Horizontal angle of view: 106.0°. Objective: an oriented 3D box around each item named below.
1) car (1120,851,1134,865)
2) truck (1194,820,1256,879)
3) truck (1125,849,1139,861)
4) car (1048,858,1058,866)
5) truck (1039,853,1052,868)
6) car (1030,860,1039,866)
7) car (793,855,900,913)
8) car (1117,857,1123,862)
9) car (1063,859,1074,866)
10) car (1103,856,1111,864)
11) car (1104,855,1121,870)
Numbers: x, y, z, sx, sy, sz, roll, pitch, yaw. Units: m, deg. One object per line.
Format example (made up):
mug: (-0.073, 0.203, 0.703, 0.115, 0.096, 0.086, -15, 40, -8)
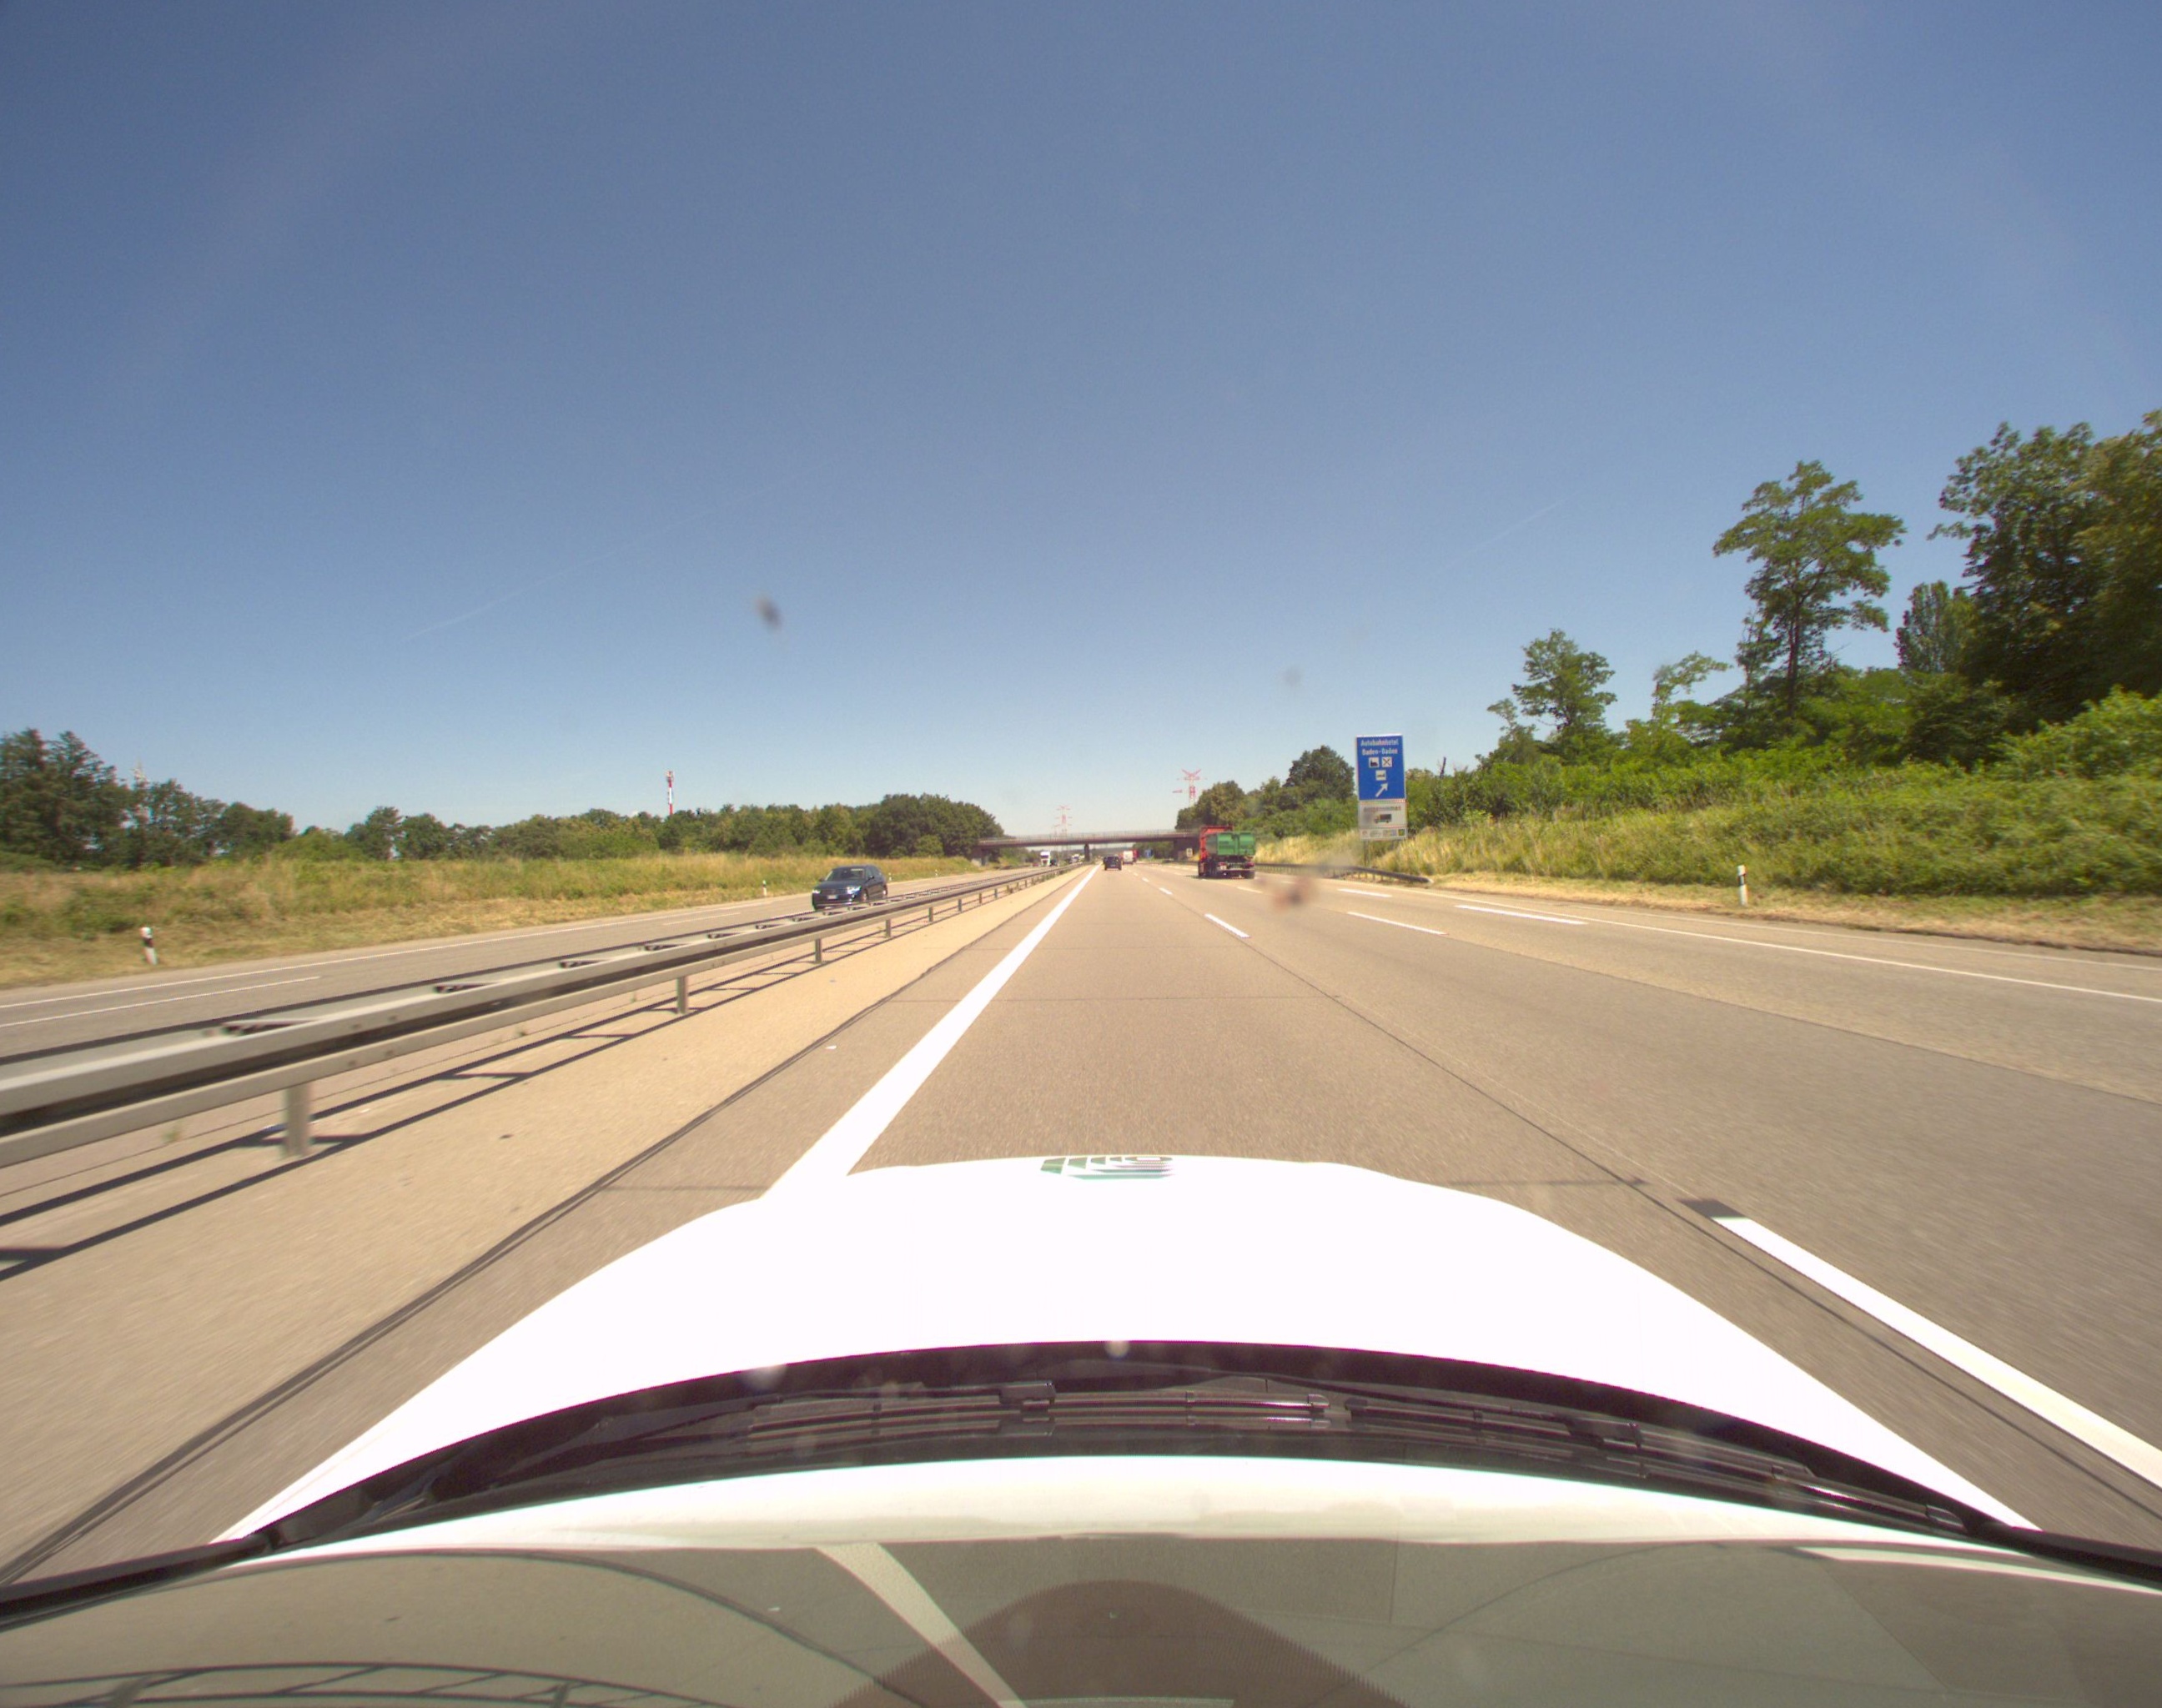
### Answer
car: (9.241, 0.804, 164.292, 2.611, 2.759, 6.099, 0, 0, 2)
truck: (10.207, -0.282, 58.900, 2.670, 3.798, 12.483, 0, 0, 2)
truck: (16.208, 0.355, 259.734, 4.314, 3.941, 16.086, 0, 0, 2)
car: (-6.889, 1.995, 201.267, 2.220, 1.812, 5.301, -4, 0, 1)
truck: (-10.033, 1.709, 230.384, 2.938, 3.960, 6.955, -4, 0, 2)
car: (-14.027, 2.803, 245.712, 2.220, 1.610, 4.789, -4, 0, 1)
car: (-8.804, 1.069, 31.188, 2.355, 1.894, 5.226, -4, 0, 1)
car: (12.307, 1.804, 254.658, 1.740, 1.634, 4.005, 0, 0, 2)
car: (-2.888, 2.072, 192.873, 2.220, 1.424, 5.301, -4, 0, 1)
car: (5.849, 1.270, 184.472, 1.787, 1.750, 4.001, 0, 0, 2)
car: (3.704, 1.002, 96.528, 1.986, 1.750, 4.001, 0, 0, 2)
